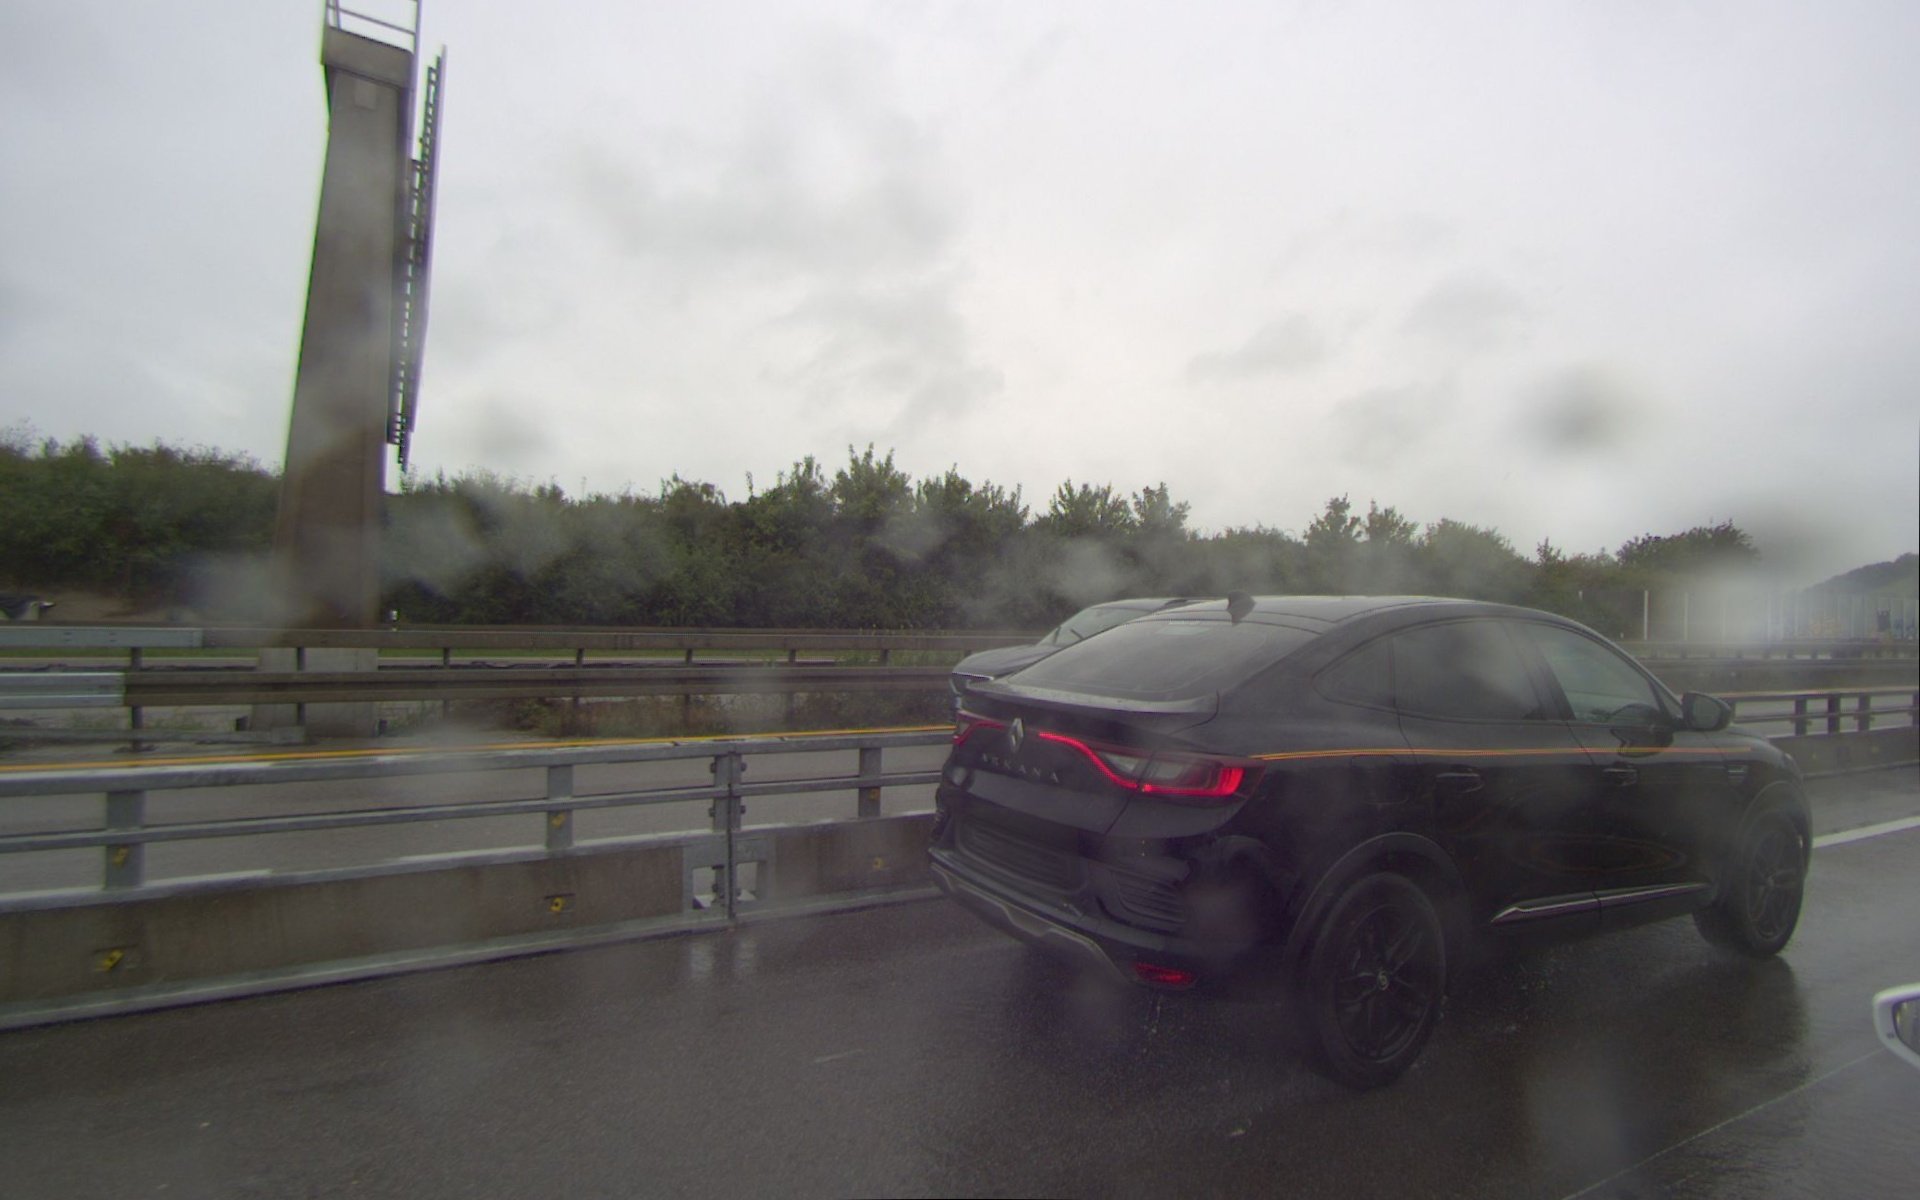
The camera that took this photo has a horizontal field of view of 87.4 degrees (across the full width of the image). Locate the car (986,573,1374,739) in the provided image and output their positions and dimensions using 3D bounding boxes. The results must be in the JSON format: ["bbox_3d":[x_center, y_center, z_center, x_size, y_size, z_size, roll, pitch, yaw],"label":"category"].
[{"bbox_3d":[2.597,0.604,11.640,4.263,1.626,1.771,2,0,-29],"label":"car"}]

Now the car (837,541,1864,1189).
[{"bbox_3d":[1.869,0.707,4.470,4.363,1.606,1.983,2,0,-31],"label":"car"}]
